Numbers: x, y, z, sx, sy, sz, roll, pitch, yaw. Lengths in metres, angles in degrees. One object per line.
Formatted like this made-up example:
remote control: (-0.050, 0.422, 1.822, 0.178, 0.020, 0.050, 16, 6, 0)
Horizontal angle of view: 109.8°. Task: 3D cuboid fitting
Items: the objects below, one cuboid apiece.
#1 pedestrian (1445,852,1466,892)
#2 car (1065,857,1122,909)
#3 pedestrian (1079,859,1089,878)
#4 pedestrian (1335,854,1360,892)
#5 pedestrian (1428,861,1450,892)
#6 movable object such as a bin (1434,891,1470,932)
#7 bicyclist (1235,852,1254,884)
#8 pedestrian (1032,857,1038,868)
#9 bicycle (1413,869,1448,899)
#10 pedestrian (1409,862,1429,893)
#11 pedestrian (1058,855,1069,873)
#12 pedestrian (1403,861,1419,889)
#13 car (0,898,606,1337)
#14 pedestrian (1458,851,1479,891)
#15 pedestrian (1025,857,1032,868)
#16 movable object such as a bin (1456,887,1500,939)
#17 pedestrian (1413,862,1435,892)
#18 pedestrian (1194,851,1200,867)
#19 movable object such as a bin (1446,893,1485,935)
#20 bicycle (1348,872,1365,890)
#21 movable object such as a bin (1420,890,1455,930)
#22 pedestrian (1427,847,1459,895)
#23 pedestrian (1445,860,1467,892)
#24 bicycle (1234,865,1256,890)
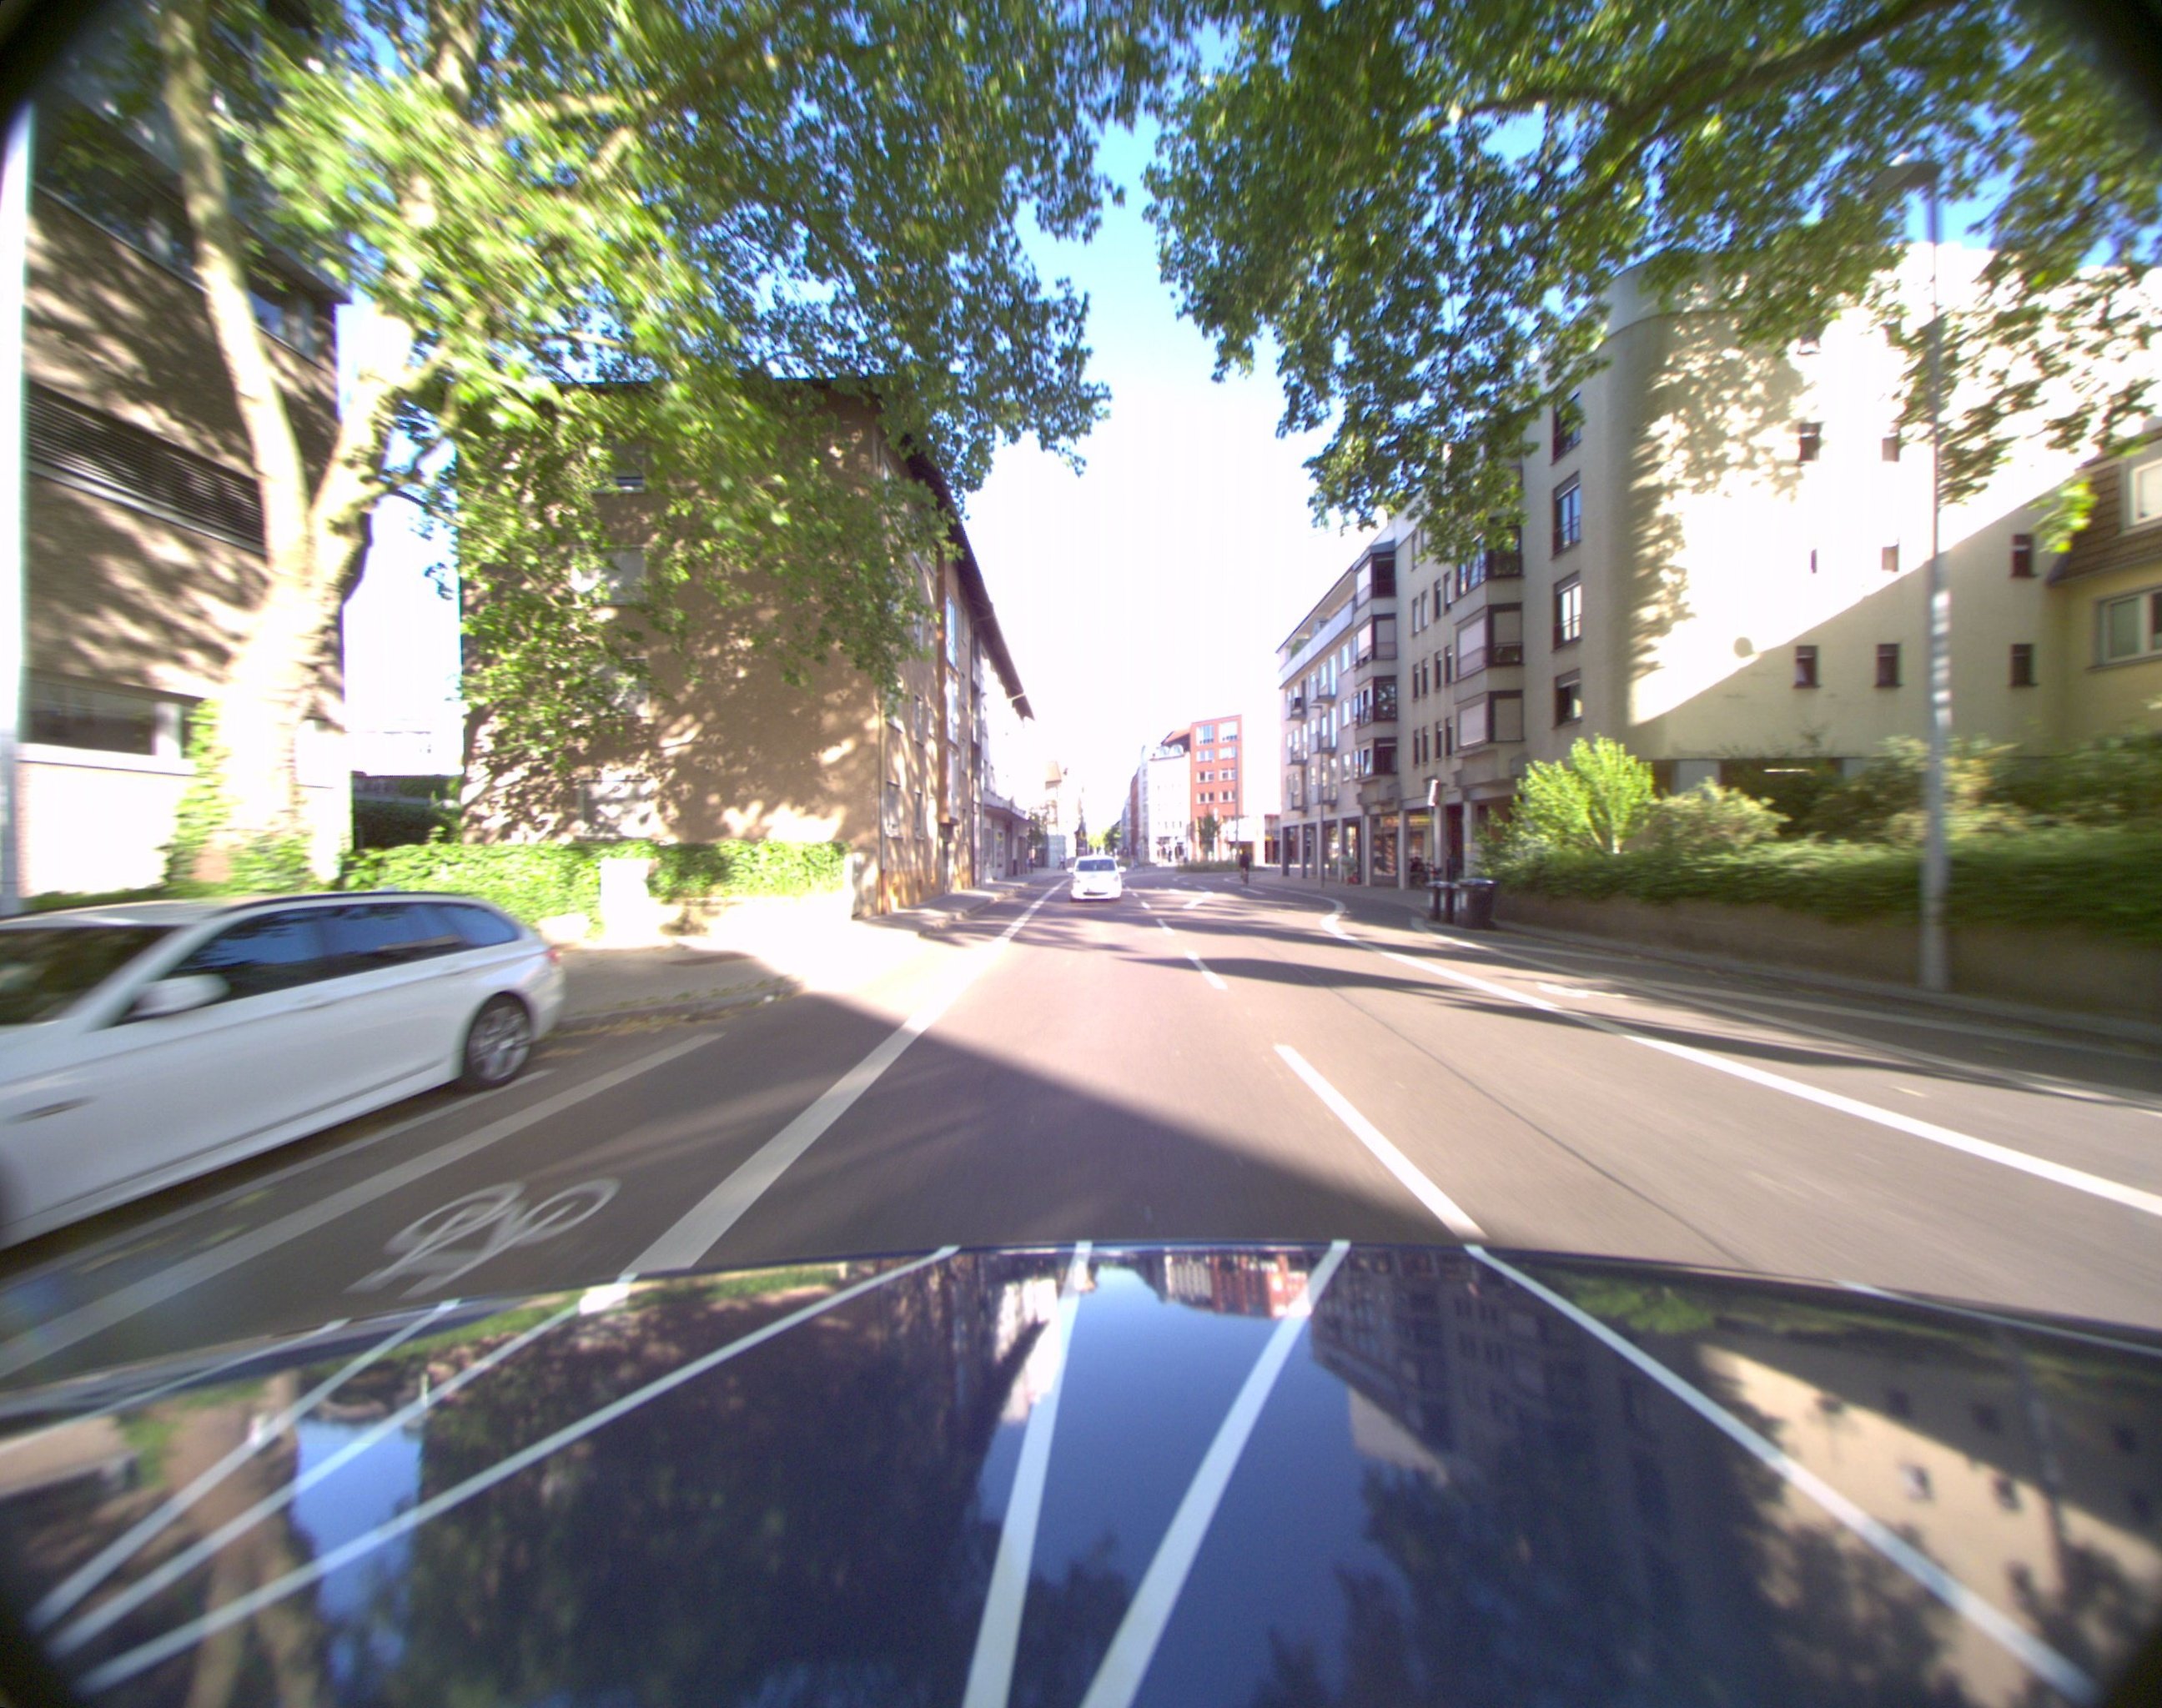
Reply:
pedestrian: (16.148, 0.771, 32.752, 0.613, 1.656, 0.713, -1, 1, 43)
car: (0.437, 0.861, 24.331, 1.683, 1.490, 3.685, 0, 1, 2)
pedestrian: (0.271, 1.371, 71.690, 0.706, 1.809, 0.708, 3, 1, 19)
pedestrian: (12.456, 0.880, 35.500, 0.835, 1.730, 0.722, -2, 1, -6)
pedestrian: (15.839, 0.976, 33.647, 0.710, 1.345, 0.615, -1, 1, 7)
movable object such as a bin: (8.523, 1.319, 17.469, 0.542, 0.896, 0.559, 0, 0, 1)
bicyclist: (8.417, 0.692, 39.155, 0.730, 1.632, 1.168, 0, 1, 2)
pedestrian: (-5.625, 1.061, 92.993, 0.707, 1.225, 0.770, 2, 1, -8)
bicycle: (13.144, 1.123, 28.621, 0.449, 1.039, 2.011, 0, 0, 1)
pedestrian: (15.291, 1.073, 34.354, 0.614, 1.360, 0.711, -1, 1, 7)
pedestrian: (-1.810, 1.007, 77.755, 0.709, 1.809, 0.705, 1, 1, -42)
pedestrian: (15.693, 1.000, 36.128, 0.568, 1.260, 0.689, -1, 1, 12)
car: (-5.070, 1.126, 4.225, 1.860, 1.428, 4.969, -1, 0, -2)
pedestrian: (16.881, 0.741, 33.130, 0.613, 1.732, 0.713, -1, 1, 43)
pedestrian: (-6.393, 1.036, 92.876, 0.707, 1.235, 0.765, 2, 1, -8)
movable object such as a bin: (8.404, 1.240, 16.102, 0.595, 1.065, 0.644, 0, 1, 1)
pedestrian: (15.767, 1.050, 34.984, 0.710, 1.328, 0.740, -1, 1, 6)
pedestrian: (12.712, 0.591, 83.146, 0.593, 1.737, 0.502, -2, 1, 10)
movable object such as a bin: (8.516, 1.321, 16.852, 0.542, 0.896, 0.644, 0, 0, 1)
bicycle: (13.462, 1.307, 37.204, 0.359, 0.819, 1.524, -1, 0, 3)
movable object such as a bin: (8.473, 1.330, 18.070, 0.542, 0.896, 0.604, 0, 0, 1)
pedestrian: (14.267, 0.667, 29.952, 0.825, 1.859, 0.806, -2, 1, 0)
pedestrian: (16.547, 0.971, 33.540, 0.710, 1.370, 0.615, -1, 1, 7)
bicycle: (8.468, 1.180, 39.205, 0.730, 1.193, 2.179, 1, 0, 2)
